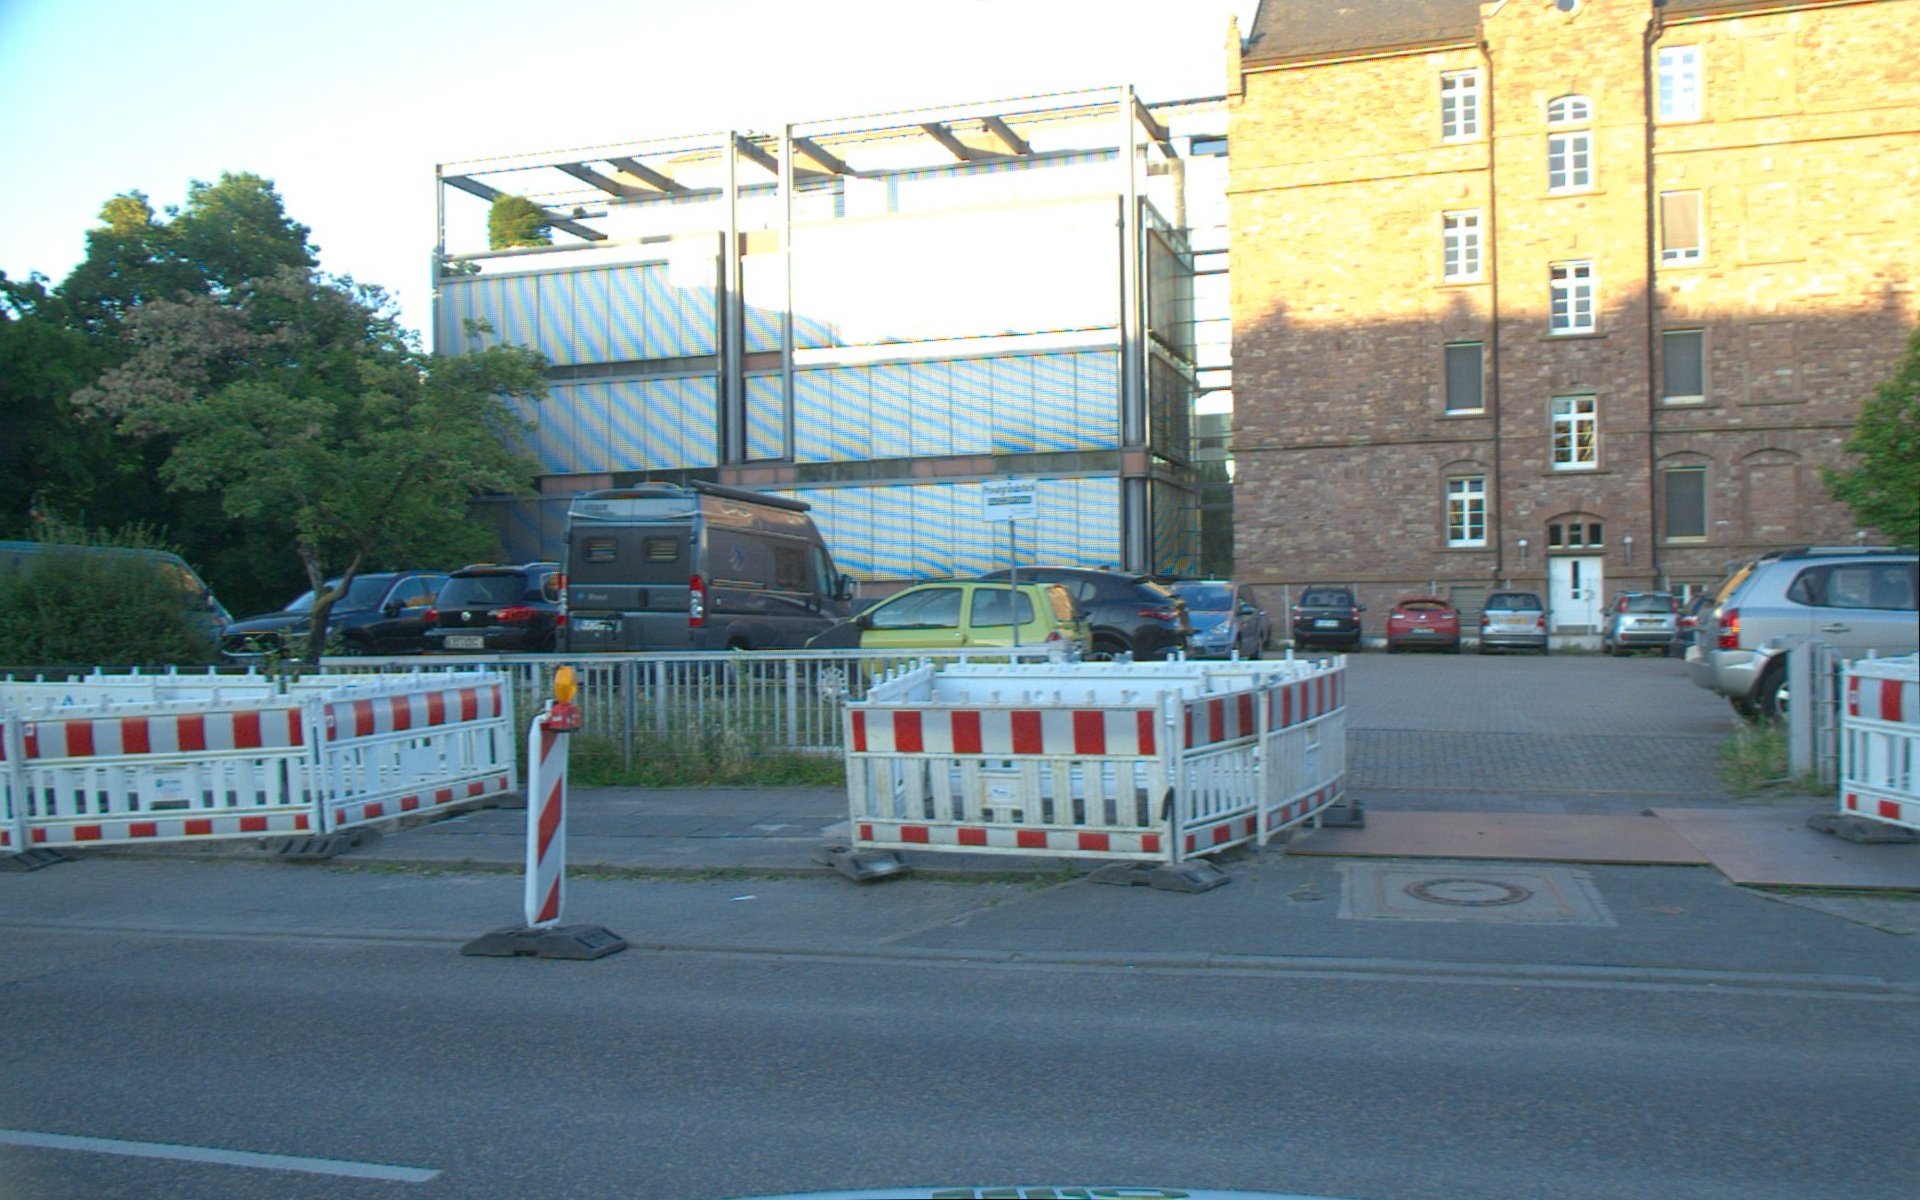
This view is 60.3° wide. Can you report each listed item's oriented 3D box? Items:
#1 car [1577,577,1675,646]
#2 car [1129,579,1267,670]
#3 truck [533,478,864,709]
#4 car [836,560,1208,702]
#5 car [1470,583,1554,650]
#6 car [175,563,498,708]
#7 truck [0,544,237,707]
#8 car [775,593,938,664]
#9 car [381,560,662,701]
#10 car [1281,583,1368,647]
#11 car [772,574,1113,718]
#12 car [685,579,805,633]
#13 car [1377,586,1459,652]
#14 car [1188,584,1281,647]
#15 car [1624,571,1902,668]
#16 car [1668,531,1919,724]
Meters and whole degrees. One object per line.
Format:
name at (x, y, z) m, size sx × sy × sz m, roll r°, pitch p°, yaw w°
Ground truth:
car at (16.277, 0.264, 40.591) m, size 1.856 × 1.564 × 4.181 m, roll -1°, pitch 0°, yaw 17°
car at (4.667, 0.439, 31.893) m, size 1.951 × 1.604 × 4.367 m, roll -1°, pitch 0°, yaw 17°
truck at (-3.243, -0.065, 21.792) m, size 2.285 × 2.662 × 4.975 m, roll -1°, pitch 0°, yaw 18°
car at (0.799, 0.413, 21.296) m, size 4.487 × 1.666 × 1.576 m, roll -2°, pitch 0°, yaw 19°
car at (13.776, 0.379, 41.457) m, size 1.856 × 1.564 × 4.181 m, roll -1°, pitch 0°, yaw 17°
car at (-8.324, 0.437, 22.554) m, size 1.951 × 1.757 × 4.304 m, roll -1°, pitch 0°, yaw 15°
truck at (-12.896, 0.357, 23.718) m, size 2.062 × 2.127 × 4.513 m, roll -1°, pitch 0°, yaw 20°
car at (-2.030, 0.547, 33.879) m, size 1.898 × 1.328 × 4.367 m, roll -1°, pitch 0°, yaw 17°
car at (-5.836, 0.378, 22.540) m, size 1.951 × 1.722 × 4.003 m, roll -1°, pitch 0°, yaw 15°
car at (9.534, 0.362, 43.055) m, size 1.856 × 1.564 × 4.181 m, roll -1°, pitch 0°, yaw 17°
car at (-0.179, 0.531, 19.022) m, size 3.555 × 1.530 × 1.638 m, roll -2°, pitch 0°, yaw 19°
car at (-6.186, 0.168, 48.004) m, size 1.856 × 1.457 × 4.181 m, roll -1°, pitch 0°, yaw 17°
car at (11.701, 0.456, 42.064) m, size 1.856 × 1.564 × 4.181 m, roll -1°, pitch 0°, yaw 17°
car at (7.356, 0.387, 44.073) m, size 1.856 × 1.564 × 4.181 m, roll -1°, pitch 0°, yaw 17°
car at (13.559, 0.342, 28.178) m, size 4.040 × 1.509 × 1.643 m, roll -2°, pitch 0°, yaw 19°
car at (9.159, 0.238, 15.800) m, size 4.179 × 1.738 × 1.704 m, roll -2°, pitch 0°, yaw 16°
